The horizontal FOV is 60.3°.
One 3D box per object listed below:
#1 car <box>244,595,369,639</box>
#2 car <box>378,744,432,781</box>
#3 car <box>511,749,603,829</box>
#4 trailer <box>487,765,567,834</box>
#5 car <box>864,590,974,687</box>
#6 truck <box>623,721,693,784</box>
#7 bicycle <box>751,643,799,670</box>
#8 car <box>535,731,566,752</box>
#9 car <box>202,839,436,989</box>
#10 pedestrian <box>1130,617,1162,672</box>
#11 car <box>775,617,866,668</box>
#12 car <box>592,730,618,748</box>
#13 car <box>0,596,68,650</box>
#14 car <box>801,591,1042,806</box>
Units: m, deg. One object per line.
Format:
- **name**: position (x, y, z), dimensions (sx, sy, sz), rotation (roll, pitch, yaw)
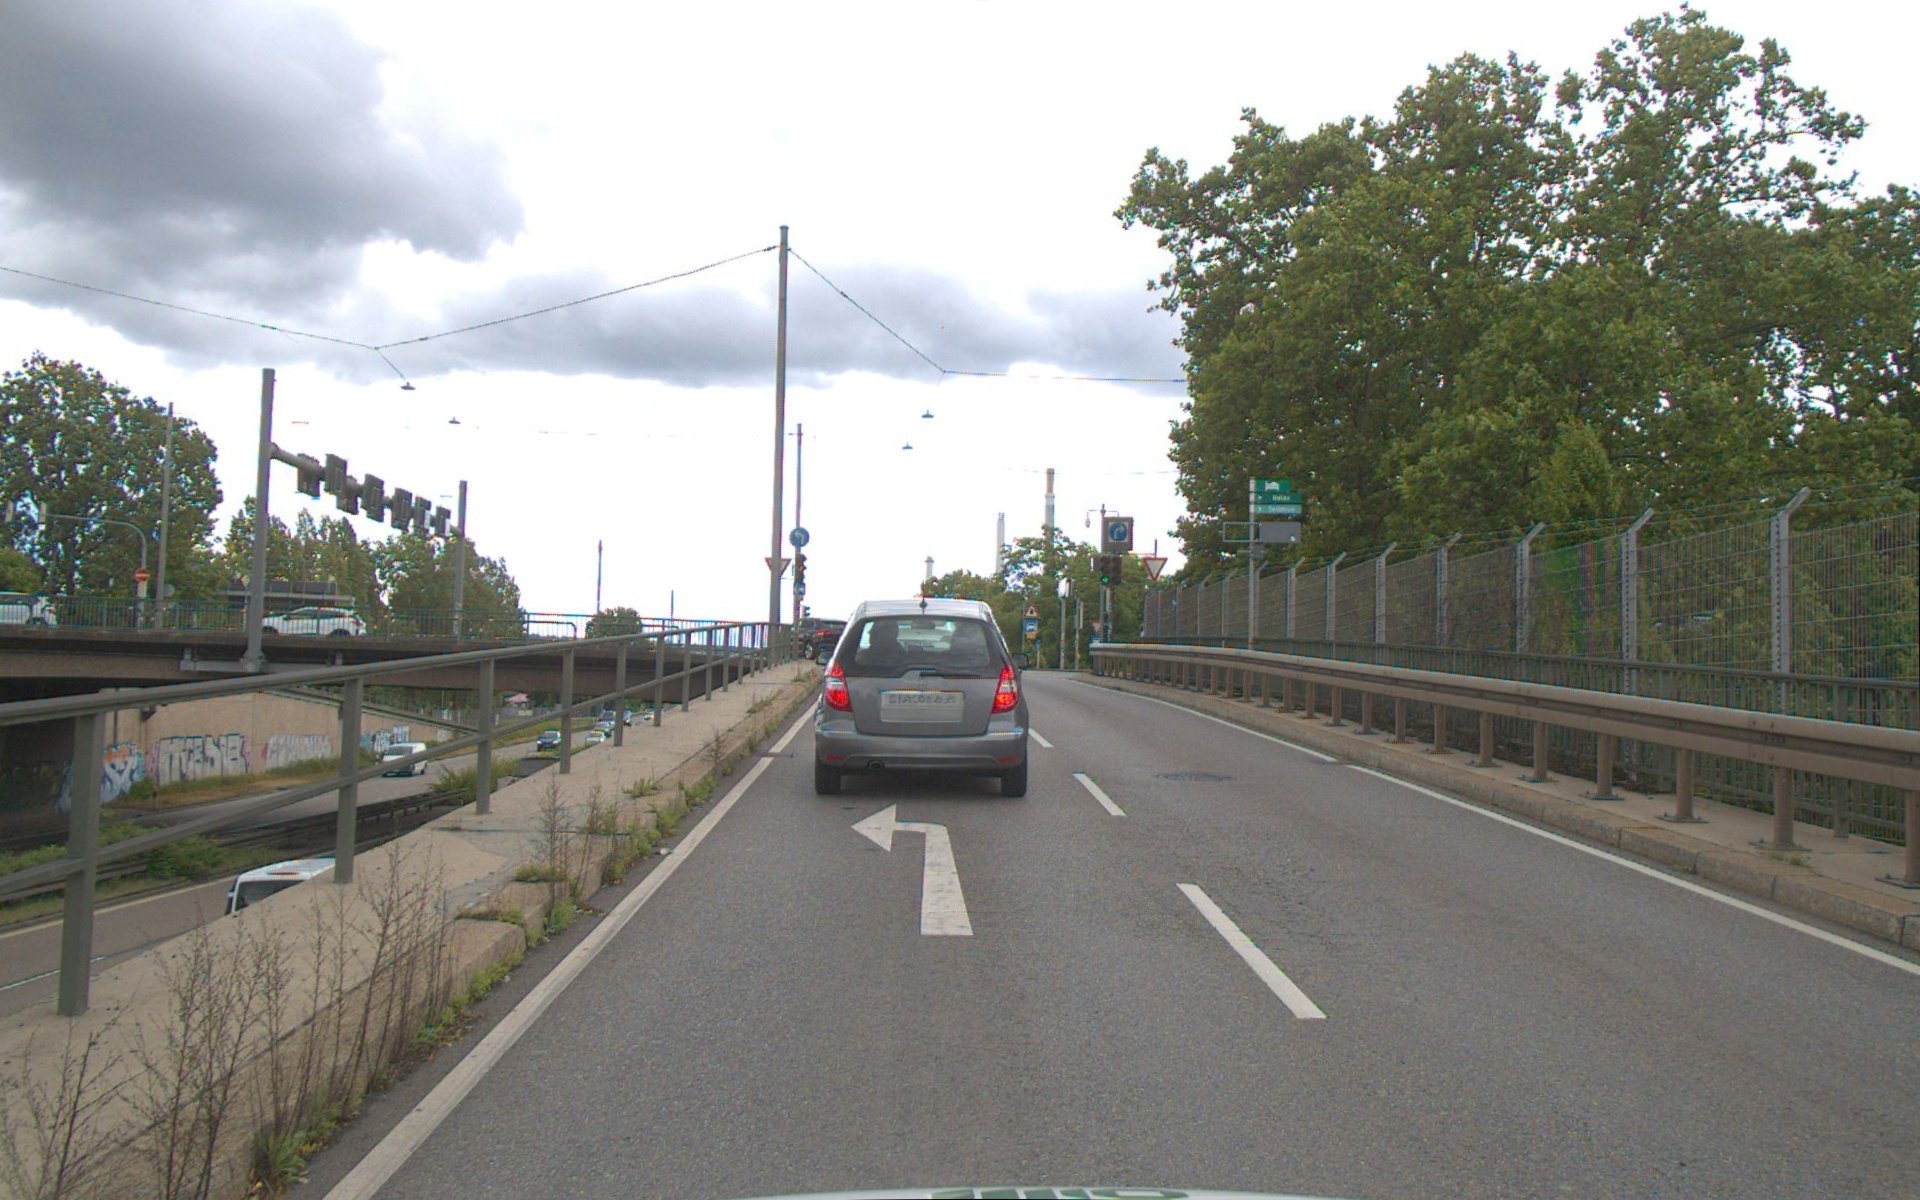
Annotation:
- **car**: position (-25.211, 0.658, 63.921), dimensions (4.259, 1.604, 1.831), rotation (1, -1, -15)
- **car**: position (-34.900, 10.215, 104.206), dimensions (1.954, 2.103, 5.171), rotation (1, -4, -4)
- **car**: position (-15.049, 7.019, 62.094), dimensions (1.953, 2.732, 5.930), rotation (1, -5, -1)
- **trailer**: position (-14.934, 6.855, 57.195), dimensions (1.693, 2.167, 3.934), rotation (1, -5, -1)
- **car**: position (-0.871, 0.735, 32.350), dimensions (1.893, 1.747, 4.401), rotation (1, -1, -4)
- **truck**: position (-17.249, 8.678, 94.940), dimensions (2.690, 3.351, 7.438), rotation (1, -4, -1)
- **bicycle**: position (-8.245, 2.526, 73.567), dimensions (1.998, 1.144, 0.926), rotation (1, -1, -14)
- **car**: position (-36.828, 12.714, 148.811), dimensions (1.877, 1.769, 4.548), rotation (0, -4, -4)
- **car**: position (-10.670, 5.195, 28.023), dimensions (1.953, 1.909, 5.196), rotation (1, -4, -1)
- **pedestrian**: position (6.011, 1.450, 53.488), dimensions (0.816, 1.707, 0.978), rotation (1, -4, -6)
- **car**: position (-5.050, 1.521, 59.553), dimensions (1.908, 1.747, 3.965), rotation (1, -1, -27)
- **car**: position (-33.777, 13.210, 157.413), dimensions (1.694, 1.555, 4.083), rotation (1, -4, -3)
- **car**: position (-34.470, 0.820, 59.078), dimensions (1.966, 1.903, 4.183), rotation (0, -1, 44)
- **car**: position (-0.317, 0.771, 14.673), dimensions (1.820, 1.616, 3.999), rotation (1, 0, -1)
